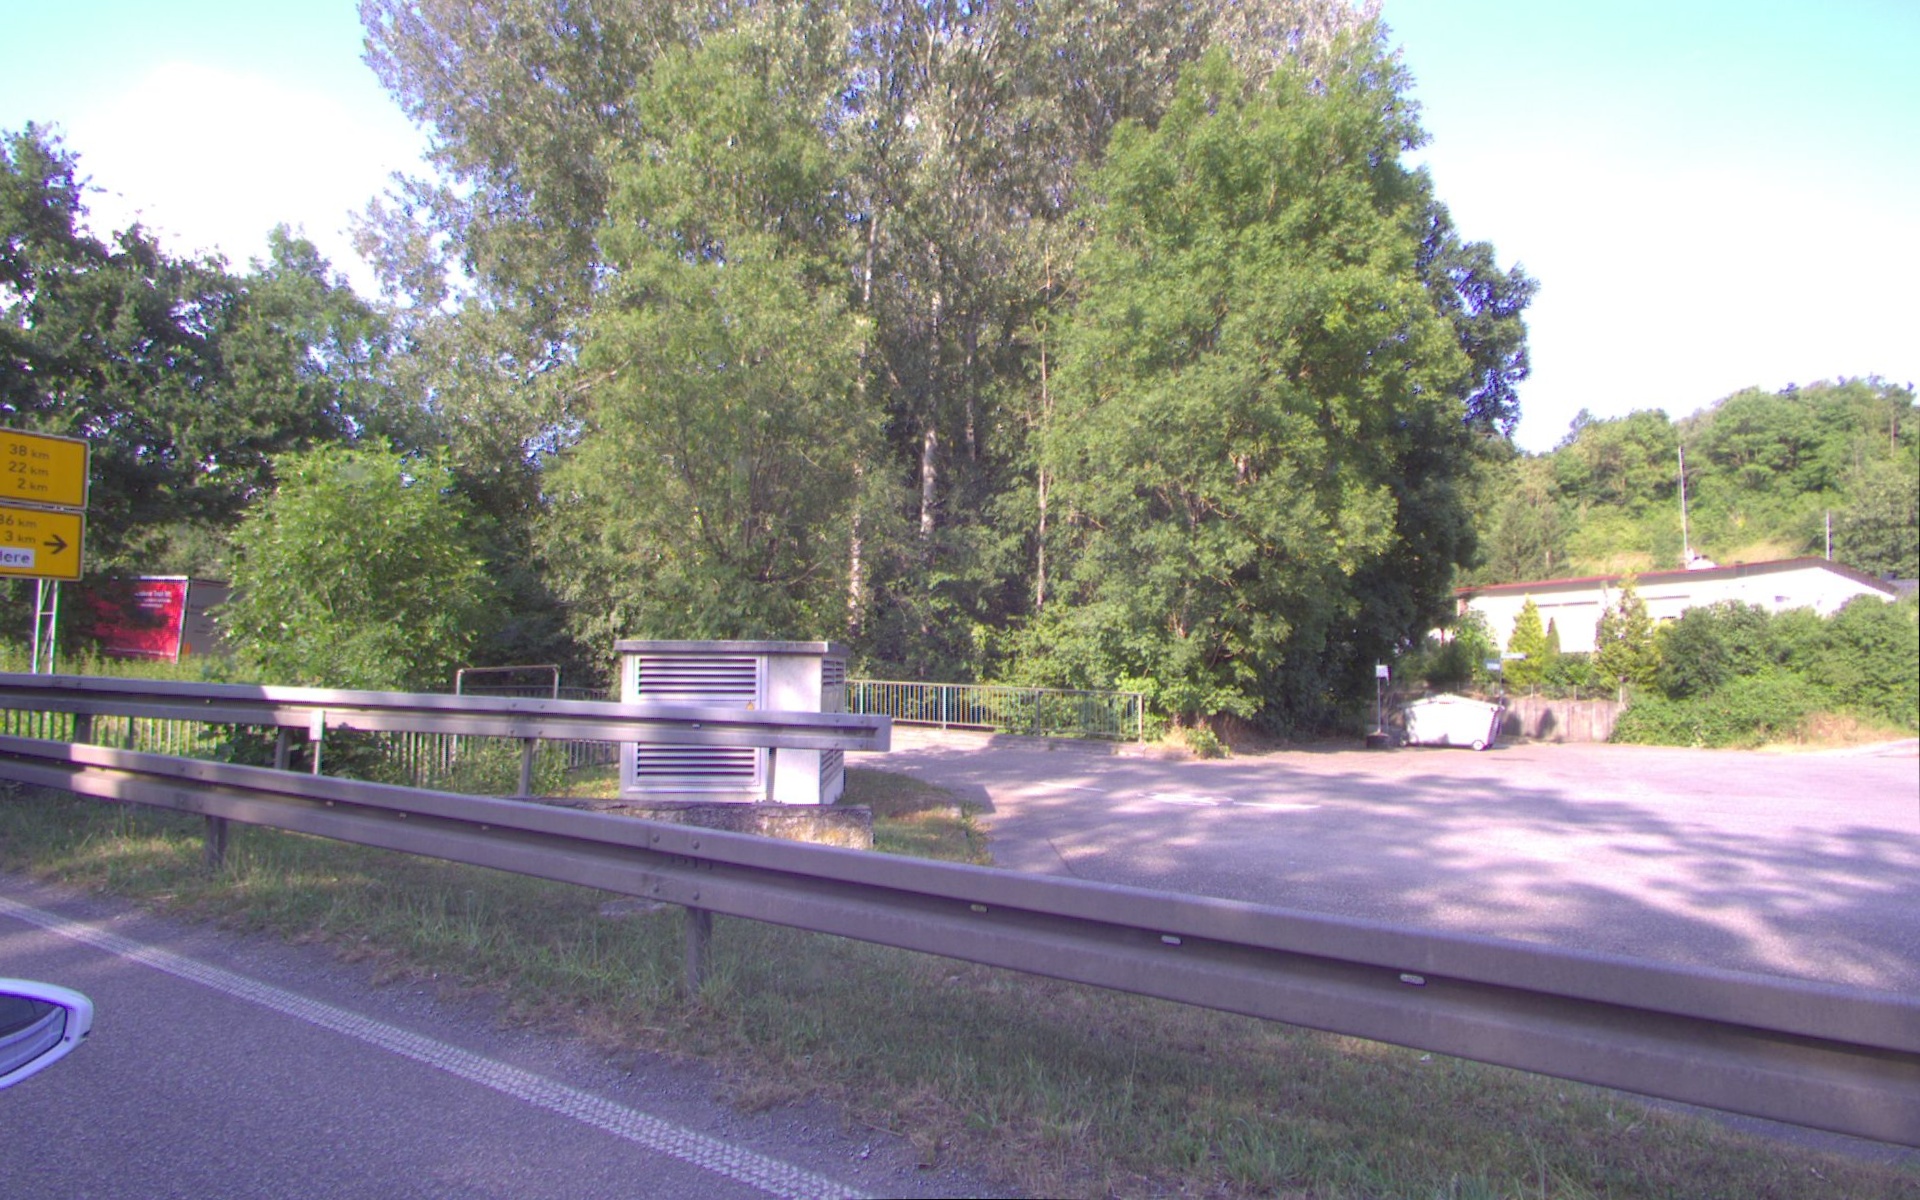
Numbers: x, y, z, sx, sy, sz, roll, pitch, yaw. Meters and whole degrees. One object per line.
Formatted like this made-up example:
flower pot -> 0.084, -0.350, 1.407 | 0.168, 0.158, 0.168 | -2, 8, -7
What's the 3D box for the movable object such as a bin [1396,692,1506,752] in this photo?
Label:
movable object such as a bin -> 13.077, 3.224, 26.696 | 2.521, 1.436, 1.265 | -1, -5, 32
